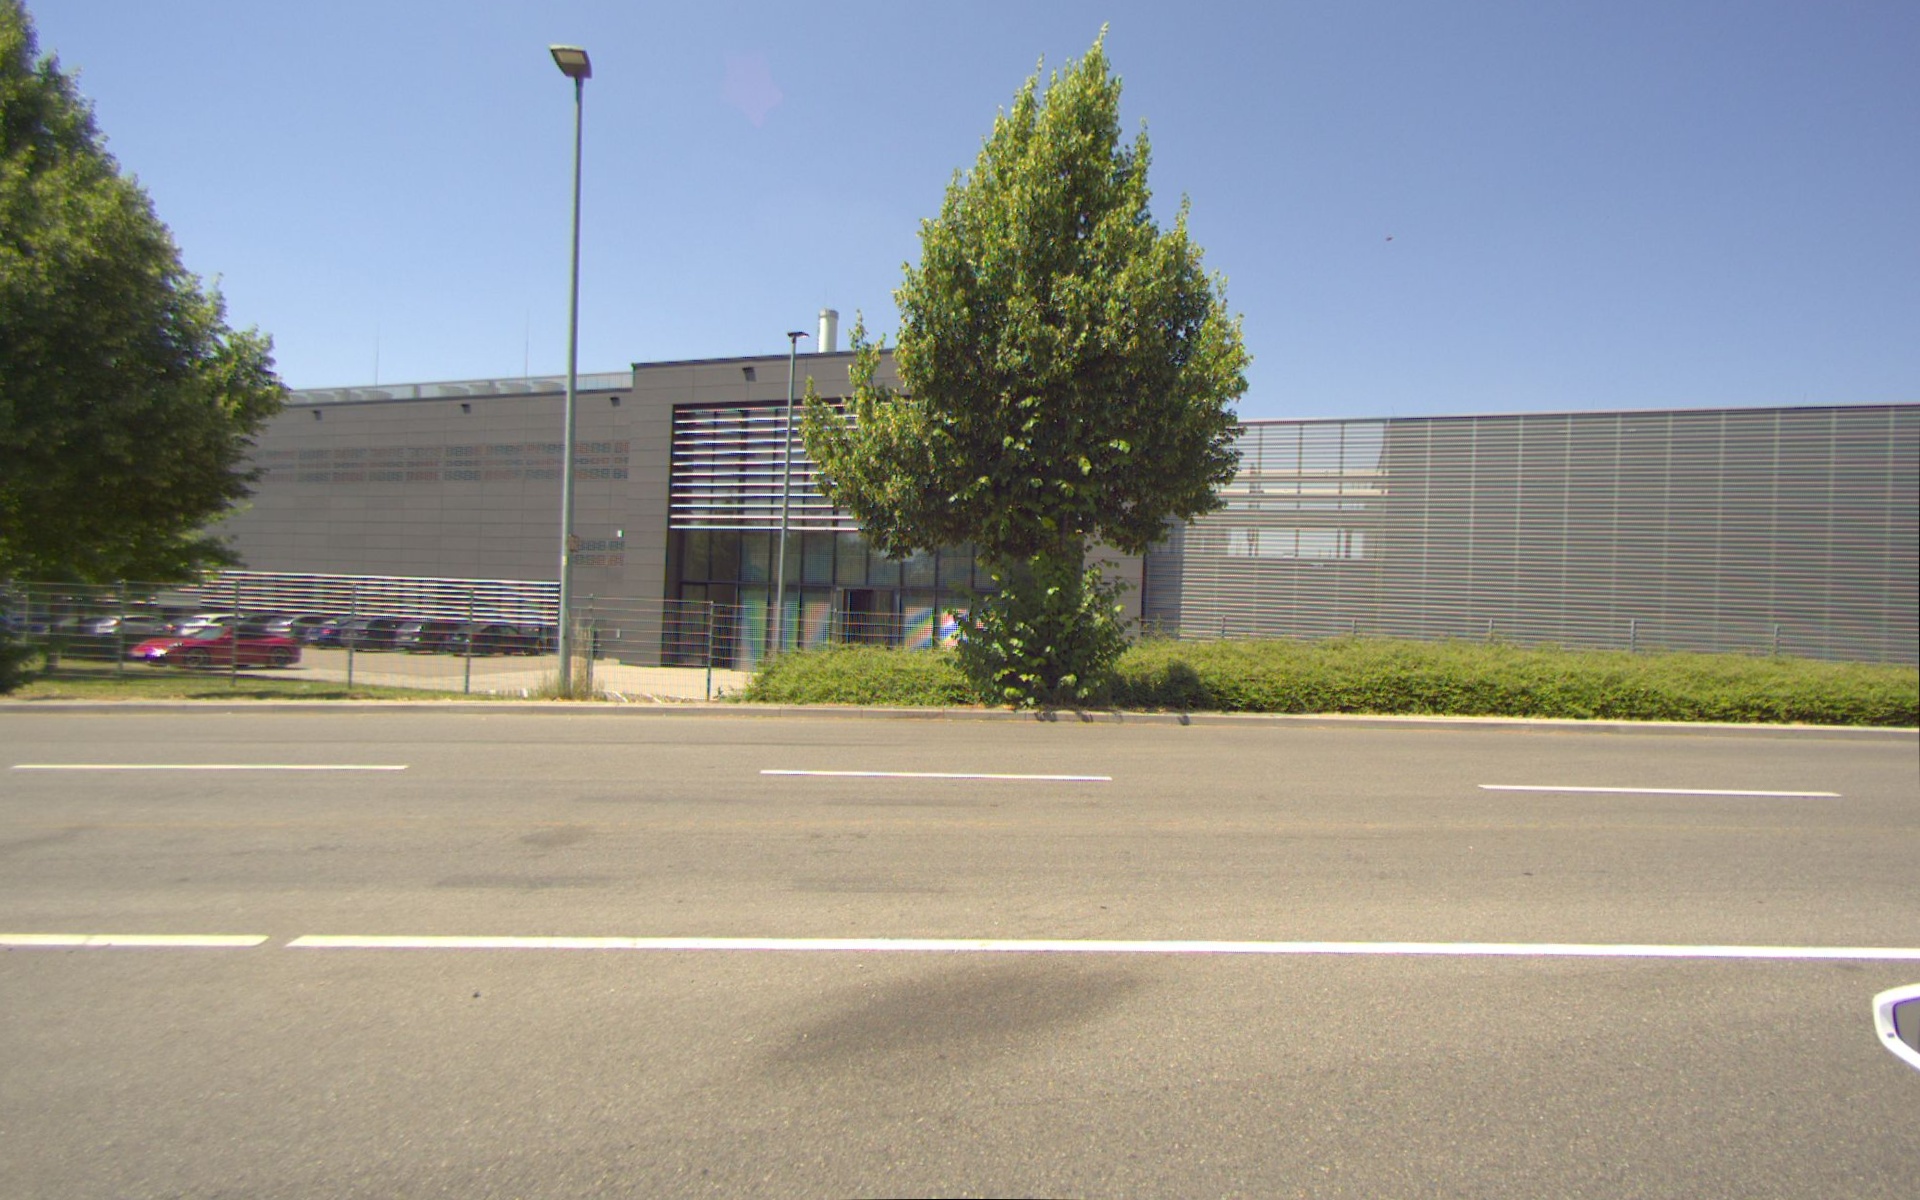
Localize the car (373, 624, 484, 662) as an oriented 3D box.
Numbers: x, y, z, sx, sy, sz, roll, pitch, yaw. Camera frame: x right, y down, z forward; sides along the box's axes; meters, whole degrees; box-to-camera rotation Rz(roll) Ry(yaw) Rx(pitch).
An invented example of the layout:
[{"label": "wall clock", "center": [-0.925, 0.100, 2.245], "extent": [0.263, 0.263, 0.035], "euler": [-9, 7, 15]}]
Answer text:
[{"label": "car", "center": [-22.674, 1.860, 43.011], "extent": [1.960, 1.505, 4.003], "euler": [-1, -3, 16]}]

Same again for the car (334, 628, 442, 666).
[{"label": "car", "center": [-24.918, 2.079, 43.920], "extent": [1.784, 1.548, 4.003], "euler": [-1, -3, 16]}]

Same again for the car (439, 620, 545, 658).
[{"label": "car", "center": [-19.823, 1.699, 42.729], "extent": [1.960, 1.505, 4.003], "euler": [-1, -3, 16]}]

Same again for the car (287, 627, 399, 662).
[{"label": "car", "center": [-27.484, 2.003, 44.902], "extent": [1.960, 1.505, 4.003], "euler": [-1, -3, 16]}]

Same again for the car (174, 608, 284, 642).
[{"label": "car", "center": [-34.734, 1.228, 47.882], "extent": [1.736, 1.479, 4.003], "euler": [-1, -3, 16]}]

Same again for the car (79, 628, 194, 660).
[{"label": "car", "center": [-41.192, 2.213, 50.360], "extent": [1.960, 1.505, 4.003], "euler": [-1, -3, 16]}]

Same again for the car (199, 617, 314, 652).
[{"label": "car", "center": [-32.572, 1.630, 46.658], "extent": [1.960, 1.505, 4.003], "euler": [-1, -3, 16]}]

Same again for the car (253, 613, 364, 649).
[{"label": "car", "center": [-29.652, 1.377, 45.857], "extent": [1.882, 1.537, 4.001], "euler": [-1, -1, 16]}]

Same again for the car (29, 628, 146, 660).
[{"label": "car", "center": [-43.826, 2.247, 50.593], "extent": [1.960, 1.505, 4.003], "euler": [-1, -3, 16]}]

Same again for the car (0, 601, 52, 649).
[{"label": "car", "center": [-35.586, 0.892, 36.041], "extent": [1.960, 1.728, 4.003], "euler": [-1, -3, 16]}]

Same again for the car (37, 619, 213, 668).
[{"label": "car", "center": [-27.116, 1.443, 32.799], "extent": [1.960, 1.505, 4.003], "euler": [-1, -3, 16]}]

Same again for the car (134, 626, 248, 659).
[{"label": "car", "center": [-37.260, 2.095, 48.787], "extent": [1.960, 1.505, 4.003], "euler": [-1, -3, 16]}]

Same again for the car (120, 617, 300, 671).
[{"label": "car", "center": [-22.696, 1.368, 30.583], "extent": [1.960, 1.505, 4.003], "euler": [-1, -3, 16]}]
